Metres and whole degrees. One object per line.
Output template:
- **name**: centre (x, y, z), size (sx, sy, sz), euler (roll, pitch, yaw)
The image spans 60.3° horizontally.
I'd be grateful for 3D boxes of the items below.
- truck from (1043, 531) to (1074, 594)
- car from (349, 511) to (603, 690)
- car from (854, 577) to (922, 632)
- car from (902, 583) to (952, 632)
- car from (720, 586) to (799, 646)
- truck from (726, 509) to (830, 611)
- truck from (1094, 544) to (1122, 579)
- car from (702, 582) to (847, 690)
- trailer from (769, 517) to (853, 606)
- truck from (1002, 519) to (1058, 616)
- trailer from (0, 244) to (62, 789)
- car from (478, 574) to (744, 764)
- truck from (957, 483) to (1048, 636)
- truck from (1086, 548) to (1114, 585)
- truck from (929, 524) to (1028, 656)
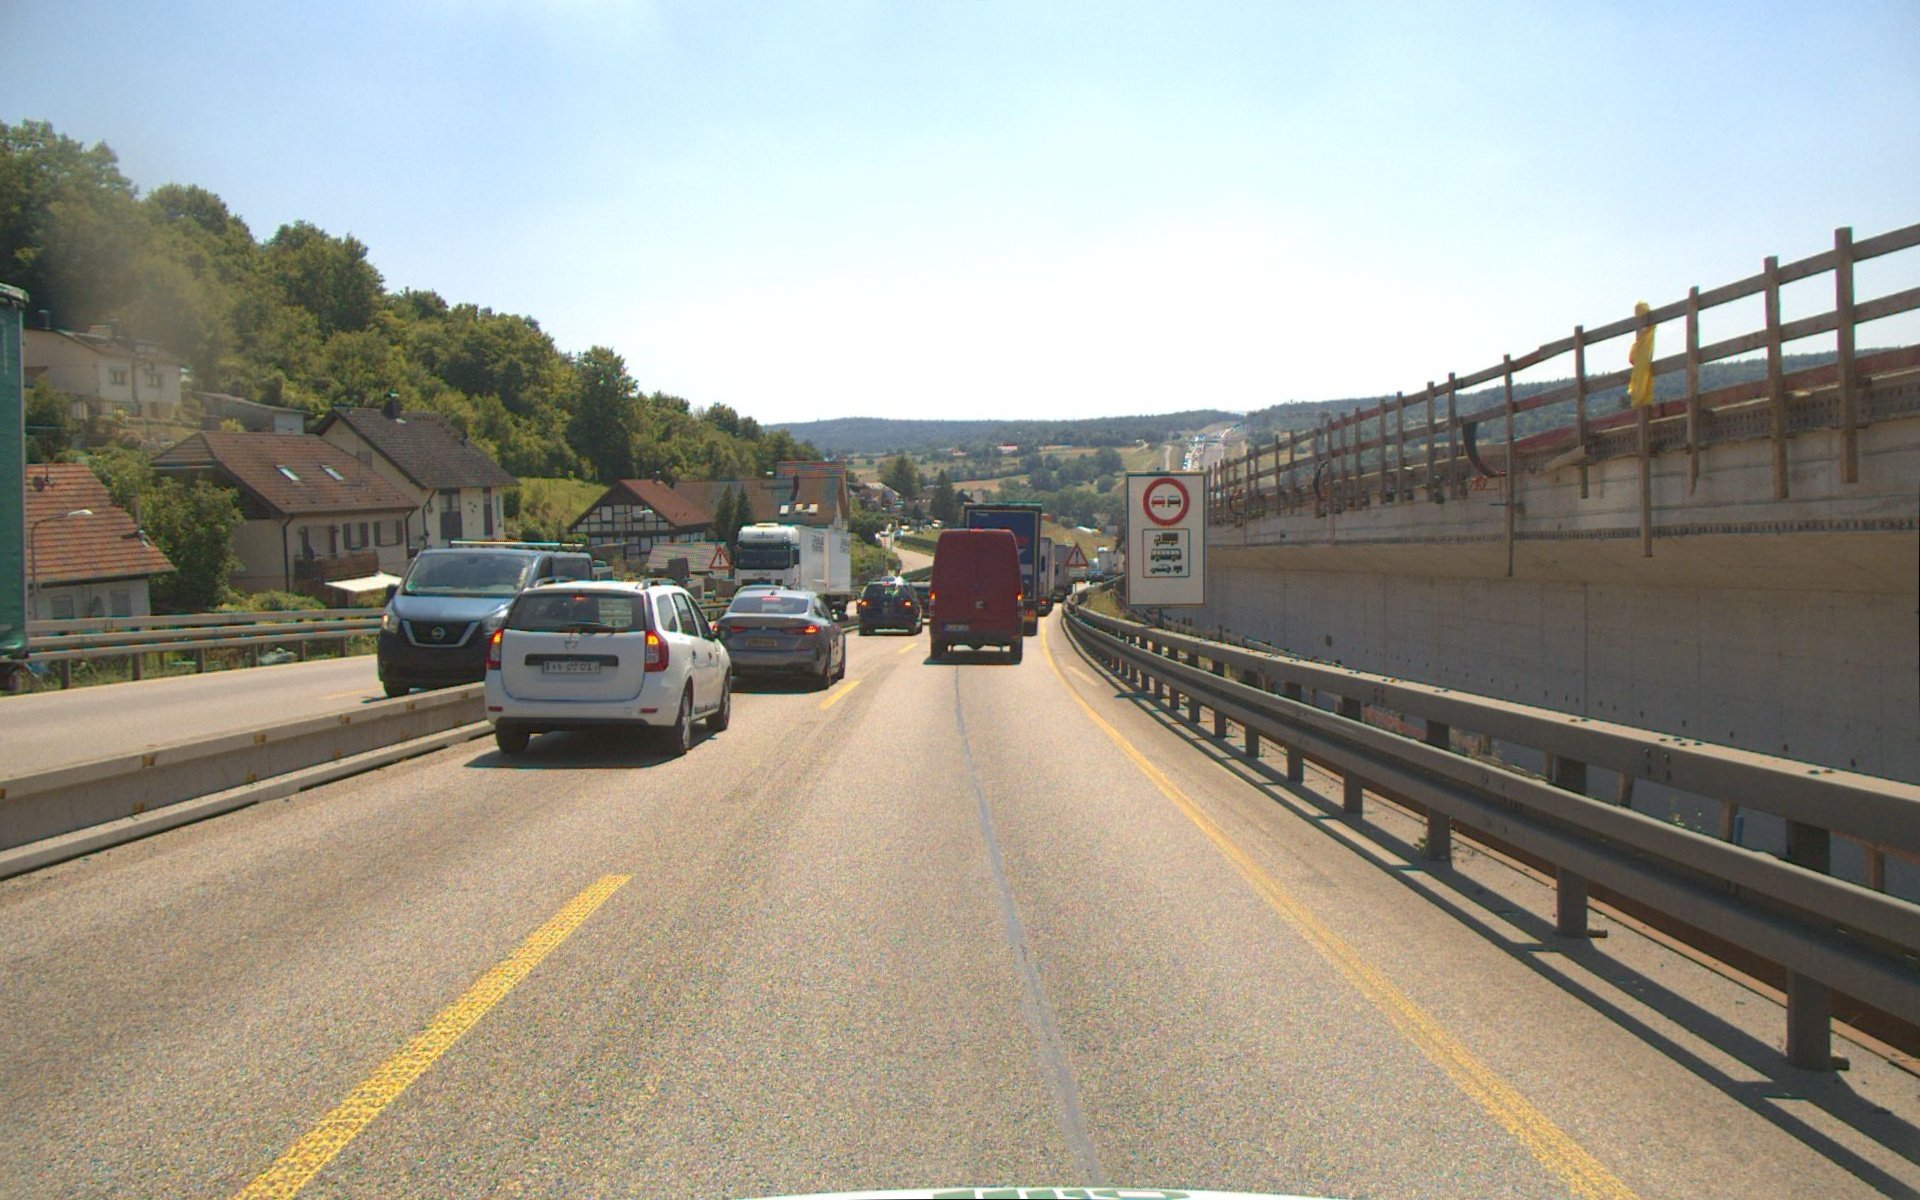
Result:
- **truck**: centre (7.169, -2.689, 120.343), size (1.951, 4.458, 4.003), euler (0, -1, 8)
- **car**: centre (-6.510, 0.028, 22.887), size (1.952, 2.211, 4.833), euler (0, -1, 2)
- **car**: centre (-2.220, 0.156, 51.940), size (1.772, 1.636, 3.720), euler (0, -1, 3)
- **car**: centre (-1.288, 0.315, 65.514), size (1.693, 1.870, 4.001), euler (0, -1, 3)
- **car**: centre (-5.745, 0.435, 47.799), size (1.548, 1.548, 4.156), euler (-2, 1, 3)
- **truck**: centre (-7.968, -1.733, 73.861), size (2.916, 4.235, 10.550), euler (0, 1, 3)
- **truck**: centre (20.612, -5.300, 229.678), size (3.393, 4.458, 8.563), euler (0, -1, 8)
- **car**: centre (-2.746, 0.496, 25.291), size (1.758, 1.511, 4.049), euler (0, 0, 0)
- **trailer**: centre (-7.411, -1.869, 83.640), size (2.941, 4.238, 9.021), euler (0, 0, 3)
- **truck**: centre (3.858, -1.614, 88.974), size (2.727, 4.900, 9.689), euler (0, -1, 4)
- **trailer**: centre (-9.705, -0.794, 7.973), size (2.775, 4.723, 14.579), euler (0, -1, 0)
- **car**: centre (-3.155, 0.580, 15.781), size (1.618, 1.509, 4.266), euler (-2, 0, 0)
- **truck**: centre (1.611, -1.243, 57.942), size (2.727, 4.900, 9.689), euler (0, -1, 4)
- **truck**: centre (17.595, -4.164, 207.950), size (3.004, 4.458, 8.563), euler (0, -1, 8)
- **truck**: centre (0.367, -0.182, 34.895), size (1.953, 2.624, 3.999), euler (0, -1, 0)
